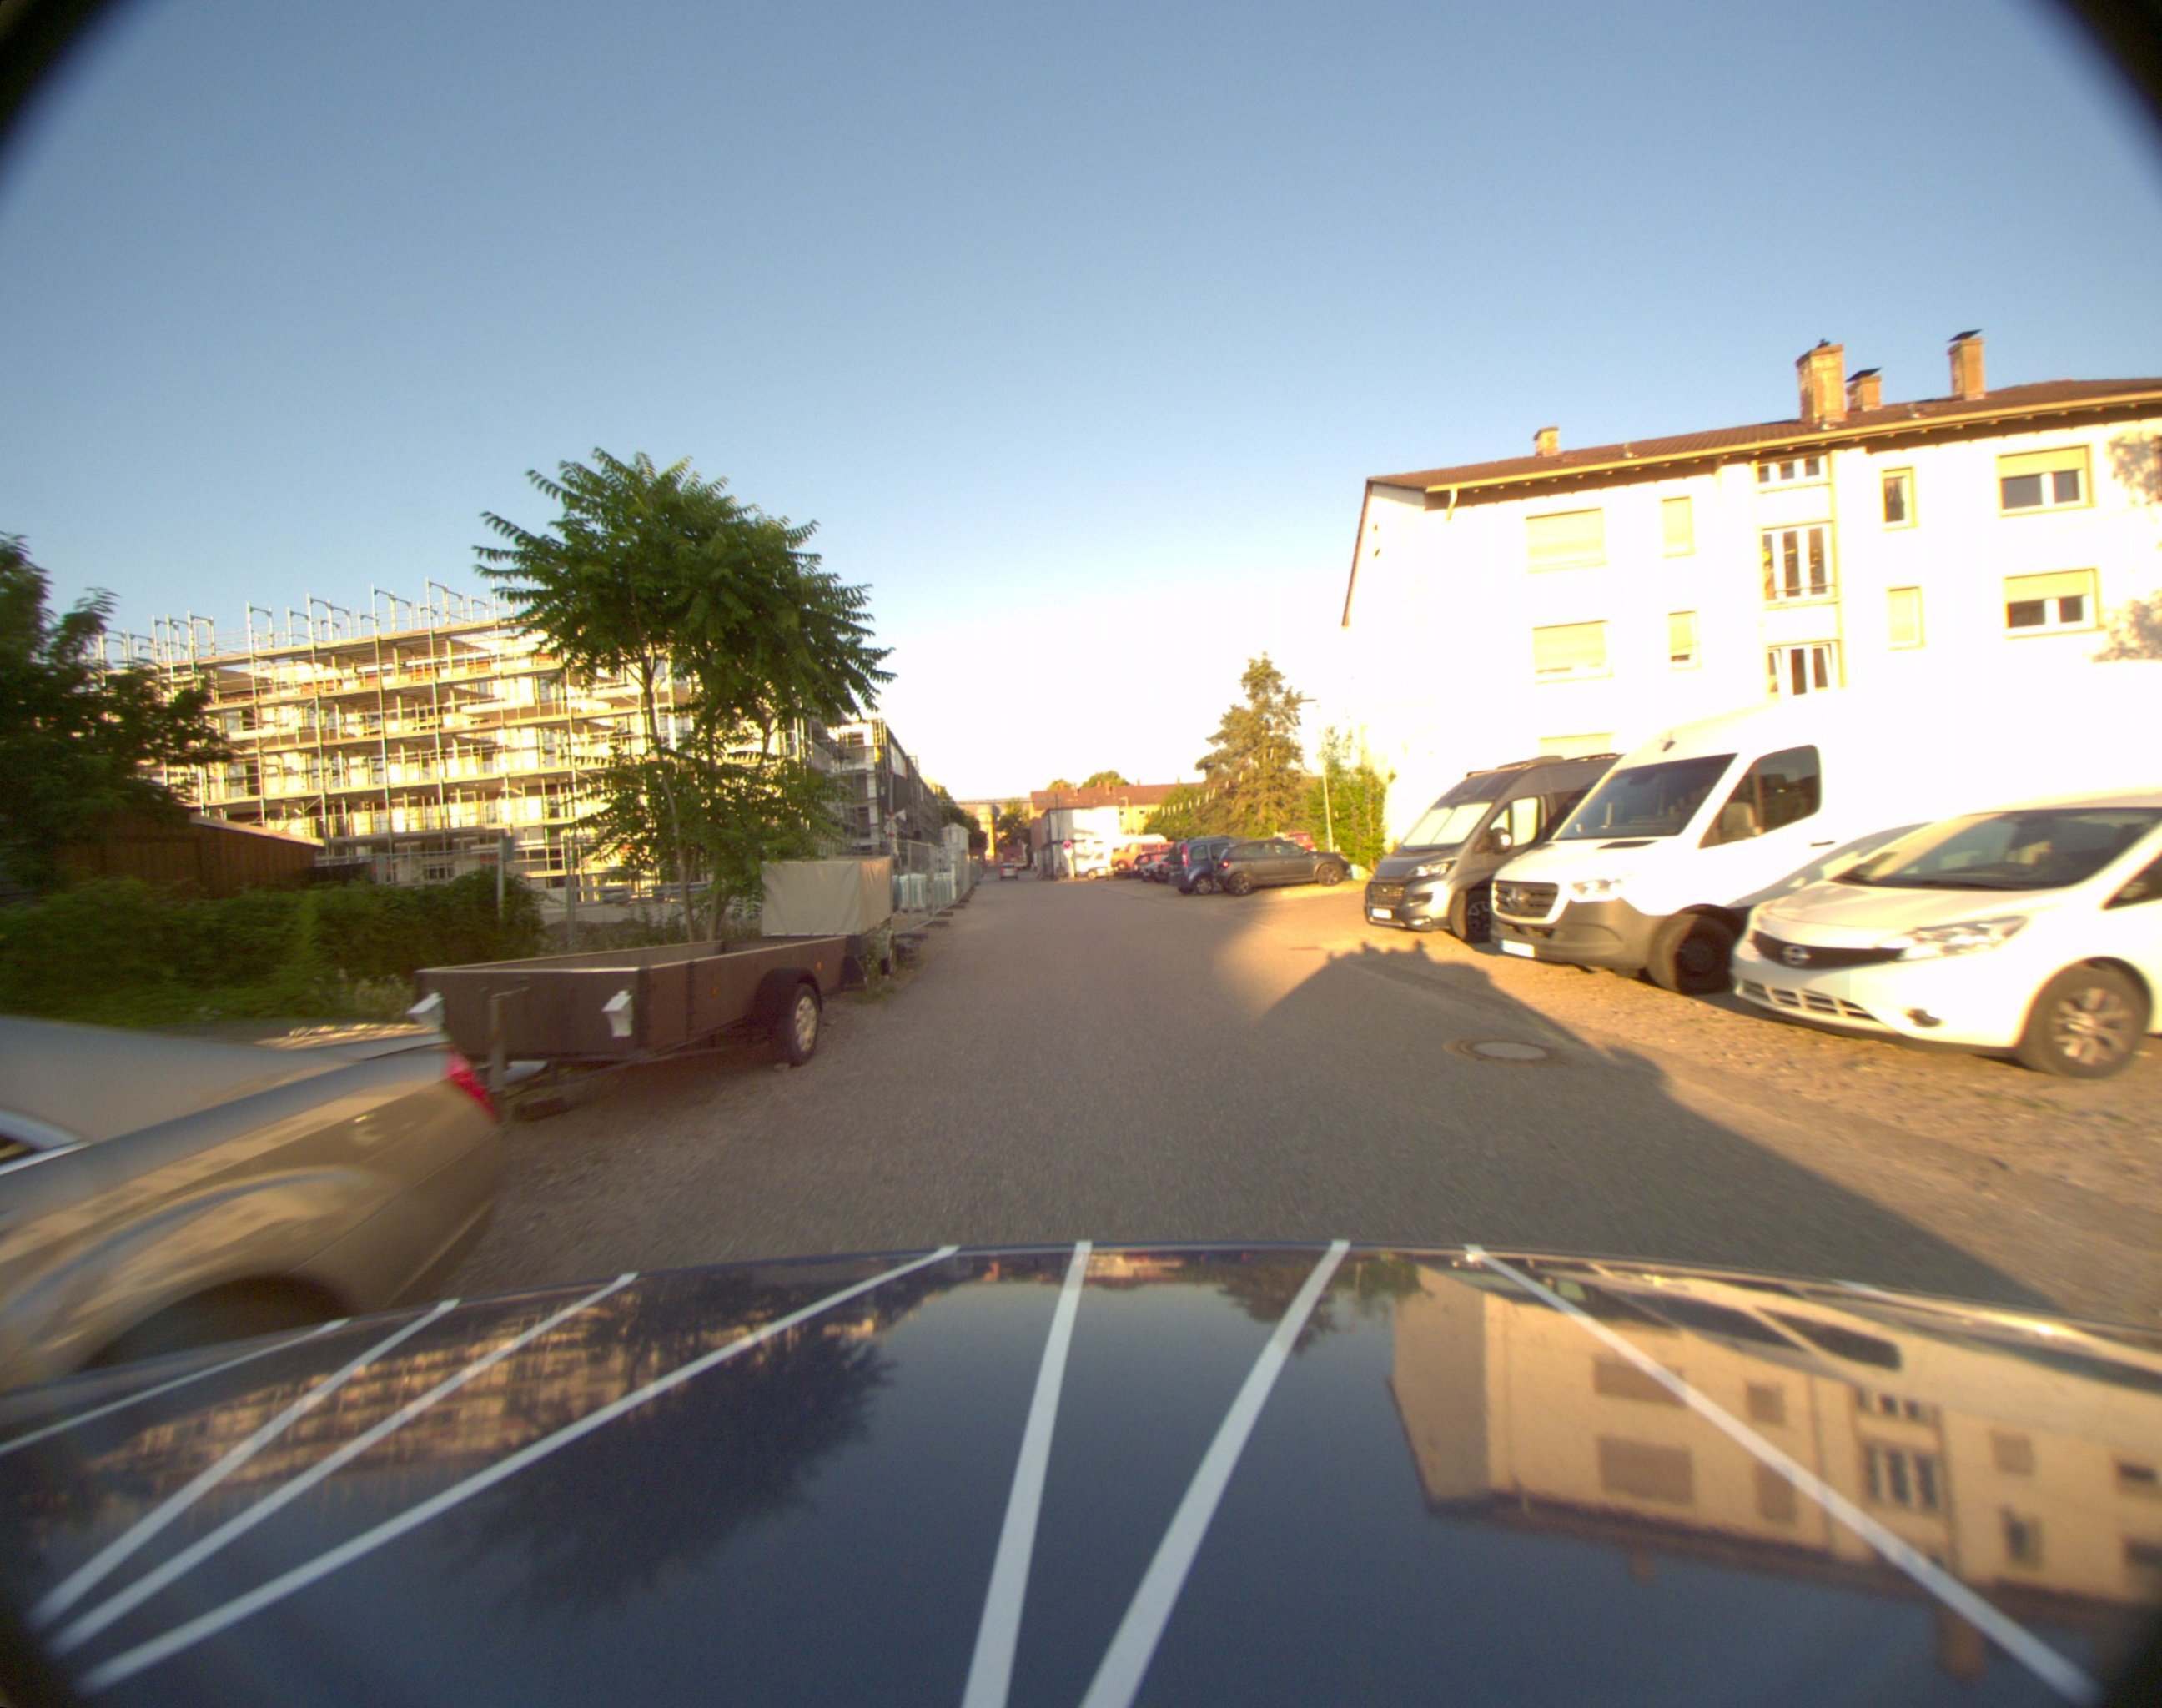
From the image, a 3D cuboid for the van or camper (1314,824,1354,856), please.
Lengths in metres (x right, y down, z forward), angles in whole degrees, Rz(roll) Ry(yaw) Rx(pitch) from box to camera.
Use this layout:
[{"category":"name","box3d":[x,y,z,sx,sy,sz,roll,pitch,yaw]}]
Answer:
[{"category":"van or camper","box3d":[23.125,-1.252,69.634,2.207,2.692,5.750,-4,0,7]}]

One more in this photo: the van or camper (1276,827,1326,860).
[{"category":"van or camper","box3d":[19.639,-0.893,68.042,2.262,2.754,5.798,-4,0,-4]}]

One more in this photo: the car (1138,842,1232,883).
[{"category":"car","box3d":[4.943,0.434,36.587,4.101,1.617,1.821,-4,-2,-4]}]

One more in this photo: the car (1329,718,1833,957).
[{"category":"car","box3d":[7.382,-0.289,11.530,6.407,2.698,2.111,-6,2,-7]}]

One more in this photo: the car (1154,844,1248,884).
[{"category":"car","box3d":[5.337,0.439,34.030,3.934,1.508,1.643,-4,1,3]}]

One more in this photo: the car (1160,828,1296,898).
[{"category":"car","box3d":[4.864,0.296,25.342,3.939,1.900,1.746,-6,0,-14]}]

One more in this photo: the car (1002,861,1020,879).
[{"category":"car","box3d":[-6.959,1.528,75.656,1.675,1.610,4.283,-4,0,-6]}]

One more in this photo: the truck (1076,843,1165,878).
[{"category":"truck","box3d":[2.750,0.441,54.261,6.028,2.031,2.355,-4,0,-3]}]

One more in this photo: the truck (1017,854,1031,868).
[{"category":"truck","box3d":[-9.995,1.239,132.876,1.843,2.089,3.736,-6,1,-13]}]

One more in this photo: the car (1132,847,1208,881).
[{"category":"car","box3d":[4.914,0.558,42.556,4.045,1.610,1.850,-4,0,3]}]

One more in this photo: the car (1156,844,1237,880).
[{"category":"car","box3d":[5.961,0.444,39.612,3.934,1.511,1.810,-5,-1,3]}]

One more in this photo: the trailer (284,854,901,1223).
[{"category":"trailer","box3d":[-2.983,0.911,6.198,1.735,1.767,4.937,-2,0,1]}]

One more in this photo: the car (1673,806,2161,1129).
[{"category":"car","box3d":[6.434,0.521,4.798,3.935,1.498,1.789,-4,1,0]}]

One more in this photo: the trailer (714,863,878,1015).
[{"category":"trailer","box3d":[-3.604,0.977,10.027,1.254,1.655,2.802,-2,0,-5]}]

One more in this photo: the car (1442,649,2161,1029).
[{"category":"car","box3d":[7.025,-0.173,7.418,5.841,2.697,2.050,-6,0,-3]}]

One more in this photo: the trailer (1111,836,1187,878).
[{"category":"trailer","box3d":[4.578,0.169,51.459,4.804,2.419,2.133,-5,2,1]}]

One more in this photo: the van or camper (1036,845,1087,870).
[{"category":"van or camper","box3d":[-2.596,0.514,100.842,6.473,2.625,2.406,-6,0,-5]}]

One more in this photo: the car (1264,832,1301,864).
[{"category":"car","box3d":[15.420,-0.404,58.482,1.847,2.135,4.825,-4,-2,5]}]

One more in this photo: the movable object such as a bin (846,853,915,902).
[{"category":"movable object such as a bin","box3d":[-10.521,1.139,40.672,2.071,2.260,8.364,-3,0,-5]}]

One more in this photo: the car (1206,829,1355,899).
[{"category":"car","box3d":[5.917,0.298,22.900,3.935,1.642,1.748,-6,0,2]}]
